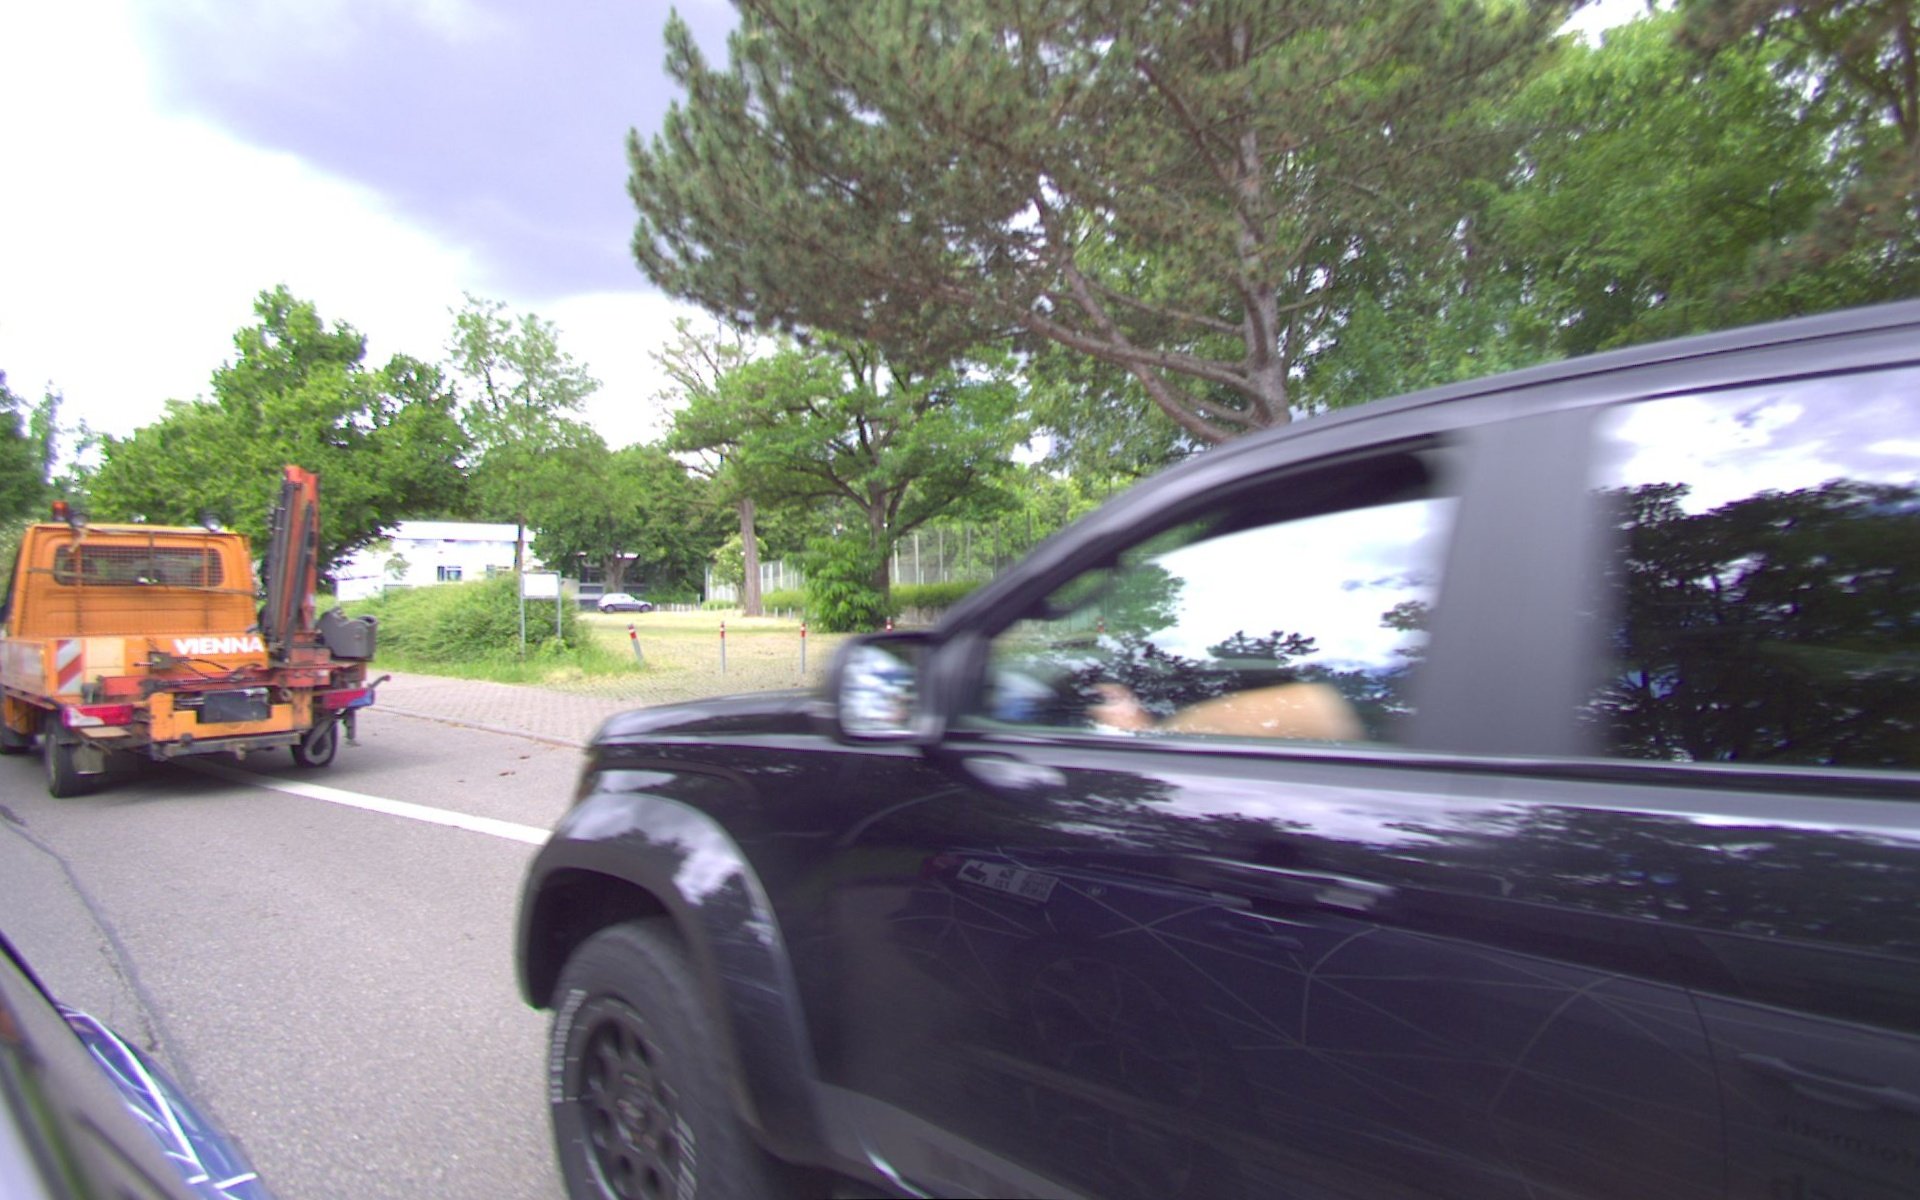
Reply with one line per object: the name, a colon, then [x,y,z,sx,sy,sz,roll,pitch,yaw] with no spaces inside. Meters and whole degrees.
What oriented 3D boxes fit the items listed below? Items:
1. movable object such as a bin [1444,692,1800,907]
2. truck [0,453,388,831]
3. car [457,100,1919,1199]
movable object such as a bin: [3.112,0.905,4.930,1.037,0.766,1.145,0,2,7]
truck: [-7.691,0.290,9.584,6.022,2.488,2.296,-1,1,44]
car: [1.306,0.520,1.490,5.338,1.749,1.971,-1,-1,44]
